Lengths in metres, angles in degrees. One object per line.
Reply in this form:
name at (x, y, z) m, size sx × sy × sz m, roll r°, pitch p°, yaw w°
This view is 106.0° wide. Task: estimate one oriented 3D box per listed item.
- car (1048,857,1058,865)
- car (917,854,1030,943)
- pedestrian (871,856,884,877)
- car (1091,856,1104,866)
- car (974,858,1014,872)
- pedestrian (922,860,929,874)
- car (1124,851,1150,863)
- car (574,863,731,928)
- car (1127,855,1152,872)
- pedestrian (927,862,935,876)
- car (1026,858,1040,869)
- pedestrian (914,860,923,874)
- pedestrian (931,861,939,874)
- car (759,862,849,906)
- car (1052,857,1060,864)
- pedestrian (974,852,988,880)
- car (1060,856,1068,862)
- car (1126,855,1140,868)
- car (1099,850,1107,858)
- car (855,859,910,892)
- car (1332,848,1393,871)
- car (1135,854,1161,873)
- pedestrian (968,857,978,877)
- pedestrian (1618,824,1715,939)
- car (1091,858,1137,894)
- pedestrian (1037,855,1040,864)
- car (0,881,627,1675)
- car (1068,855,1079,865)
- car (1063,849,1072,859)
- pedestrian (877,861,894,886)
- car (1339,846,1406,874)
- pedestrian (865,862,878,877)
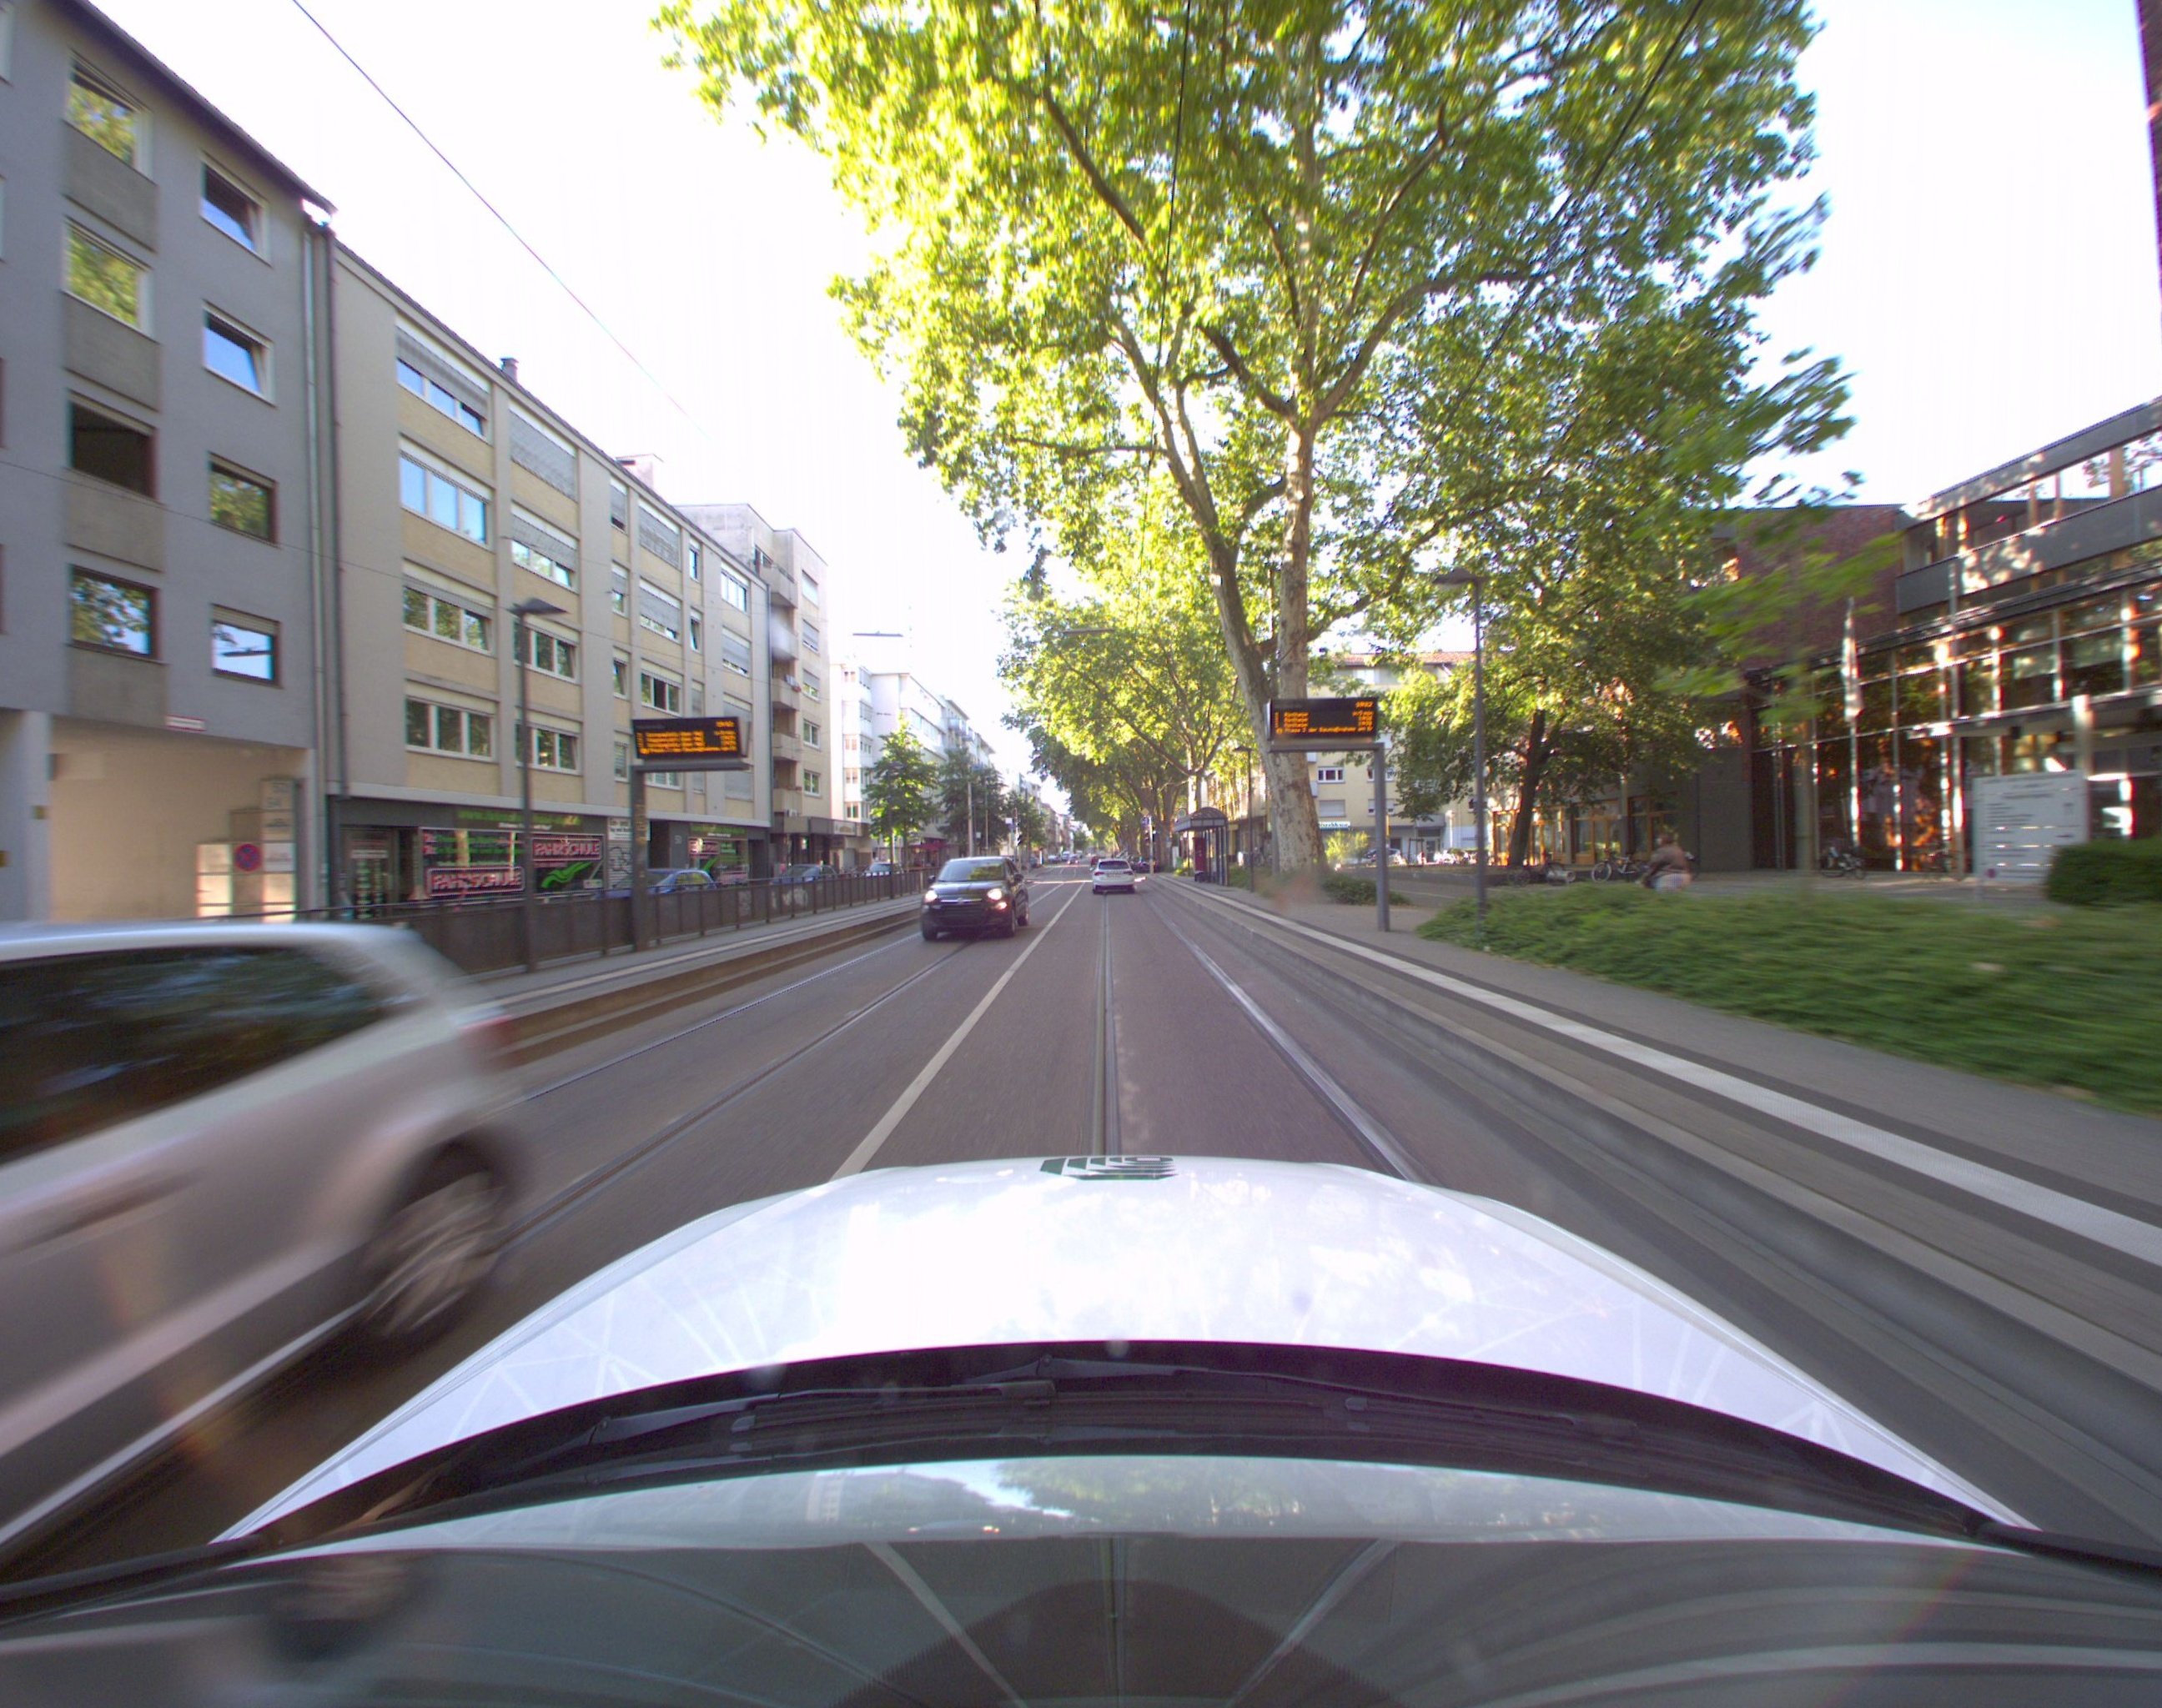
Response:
car at (-5.633, 1.389, 163.282) m, size 1.697 × 1.650 × 4.241 m, roll 1°, pitch 0°, yaw 0°
car at (-2.114, 0.828, 17.022) m, size 1.756 × 1.588 × 4.000 m, roll -2°, pitch 0°, yaw 0°
pedestrian at (-16.727, 1.016, 66.788) m, size 0.743 × 1.659 × 0.770 m, roll -2°, pitch 0°, yaw 8°
car at (2.326, 0.989, 116.197) m, size 1.755 × 1.475 × 4.000 m, roll -2°, pitch 0°, yaw 1°
car at (-9.147, 1.190, 86.016) m, size 3.997 × 1.475 × 1.852 m, roll 0°, pitch -1°, yaw 2°
pedestrian at (-13.609, 1.158, 71.296) m, size 0.512 × 1.198 × 0.561 m, roll -2°, pitch 0°, yaw -15°
car at (10.323, 0.520, 150.888) m, size 4.530 × 2.076 × 2.000 m, roll -2°, pitch 0°, yaw -1°
car at (-11.261, 1.017, 21.783) m, size 1.788 × 1.464 × 4.283 m, roll -2°, pitch 0°, yaw 2°
car at (5.313, 0.872, 74.351) m, size 1.860 × 1.437 × 4.223 m, roll -2°, pitch 0°, yaw -2°
pedestrian at (-13.424, 1.344, 72.981) m, size 0.509 × 1.198 × 0.564 m, roll -2°, pitch 0°, yaw 3°
car at (-6.717, 1.269, 113.870) m, size 1.711 × 1.464 × 3.992 m, roll 2°, pitch -1°, yaw -5°
pedestrian at (-14.302, 1.176, 71.656) m, size 0.566 × 1.198 × 0.508 m, roll -2°, pitch 0°, yaw -34°
pedestrian at (-13.479, 1.242, 75.230) m, size 0.514 × 1.198 × 0.558 m, roll -2°, pitch 0°, yaw -28°
car at (-11.105, 1.147, 32.966) m, size 1.949 × 1.544 × 4.390 m, roll -2°, pitch 0°, yaw 2°
car at (-5.406, 1.350, 179.155) m, size 1.648 × 1.437 × 3.836 m, roll -1°, pitch 0°, yaw 0°
pedestrian at (-5.710, 0.671, 46.701) m, size 0.651 × 1.585 × 0.773 m, roll -1°, pitch -1°, yaw 2°
car at (-4.302, 1.317, 208.018) m, size 1.986 × 1.530 × 4.001 m, roll -1°, pitch 0°, yaw 2°
car at (6.193, 0.899, 96.348) m, size 1.557 × 1.519 × 2.913 m, roll -3°, pitch -1°, yaw 4°
car at (6.738, 0.093, 248.833) m, size 2.194 × 2.388 × 4.001 m, roll -1°, pitch 0°, yaw 2°
car at (-10.930, 1.153, 45.201) m, size 1.871 × 1.651 × 4.358 m, roll -2°, pitch 0°, yaw 1°
car at (20.979, 0.402, 60.786) m, size 3.848 × 1.552 × 1.867 m, roll -2°, pitch 2°, yaw 1°
car at (5.647, 0.796, 69.426) m, size 1.759 × 1.462 × 5.011 m, roll -2°, pitch 0°, yaw 0°
pedestrian at (-8.684, 1.070, 65.476) m, size 0.723 × 1.556 × 0.768 m, roll -2°, pitch 0°, yaw -4°
pedestrian at (8.842, 0.400, 12.333) m, size 0.763 × 1.659 × 0.917 m, roll -2°, pitch 0°, yaw 1°
car at (1.325, 0.874, 34.147) m, size 1.756 × 1.384 × 4.000 m, roll -2°, pitch 0°, yaw 0°
pedestrian at (-9.082, 1.233, 174.798) m, size 0.661 × 1.826 × 0.965 m, roll -1°, pitch 0°, yaw 0°
car at (-2.926, 0.855, 1.533) m, size 1.755 × 1.426 × 4.002 m, roll -2°, pitch 0°, yaw 2°
car at (-1.401, 1.085, 148.041) m, size 1.865 × 1.590 × 4.146 m, roll 1°, pitch 0°, yaw 0°
car at (-4.053, 0.111, 238.430) m, size 2.334 × 2.861 × 4.001 m, roll -1°, pitch 0°, yaw 2°
pedestrian at (-12.654, 1.253, 52.668) m, size 0.718 × 1.556 × 0.730 m, roll -2°, pitch -1°, yaw 37°
car at (19.601, 0.411, 54.917) m, size 3.848 × 1.693 × 1.866 m, roll -2°, pitch 0°, yaw 1°
pedestrian at (-16.932, 1.246, 65.840) m, size 0.752 × 1.241 × 0.761 m, roll -2°, pitch 0°, yaw -32°
